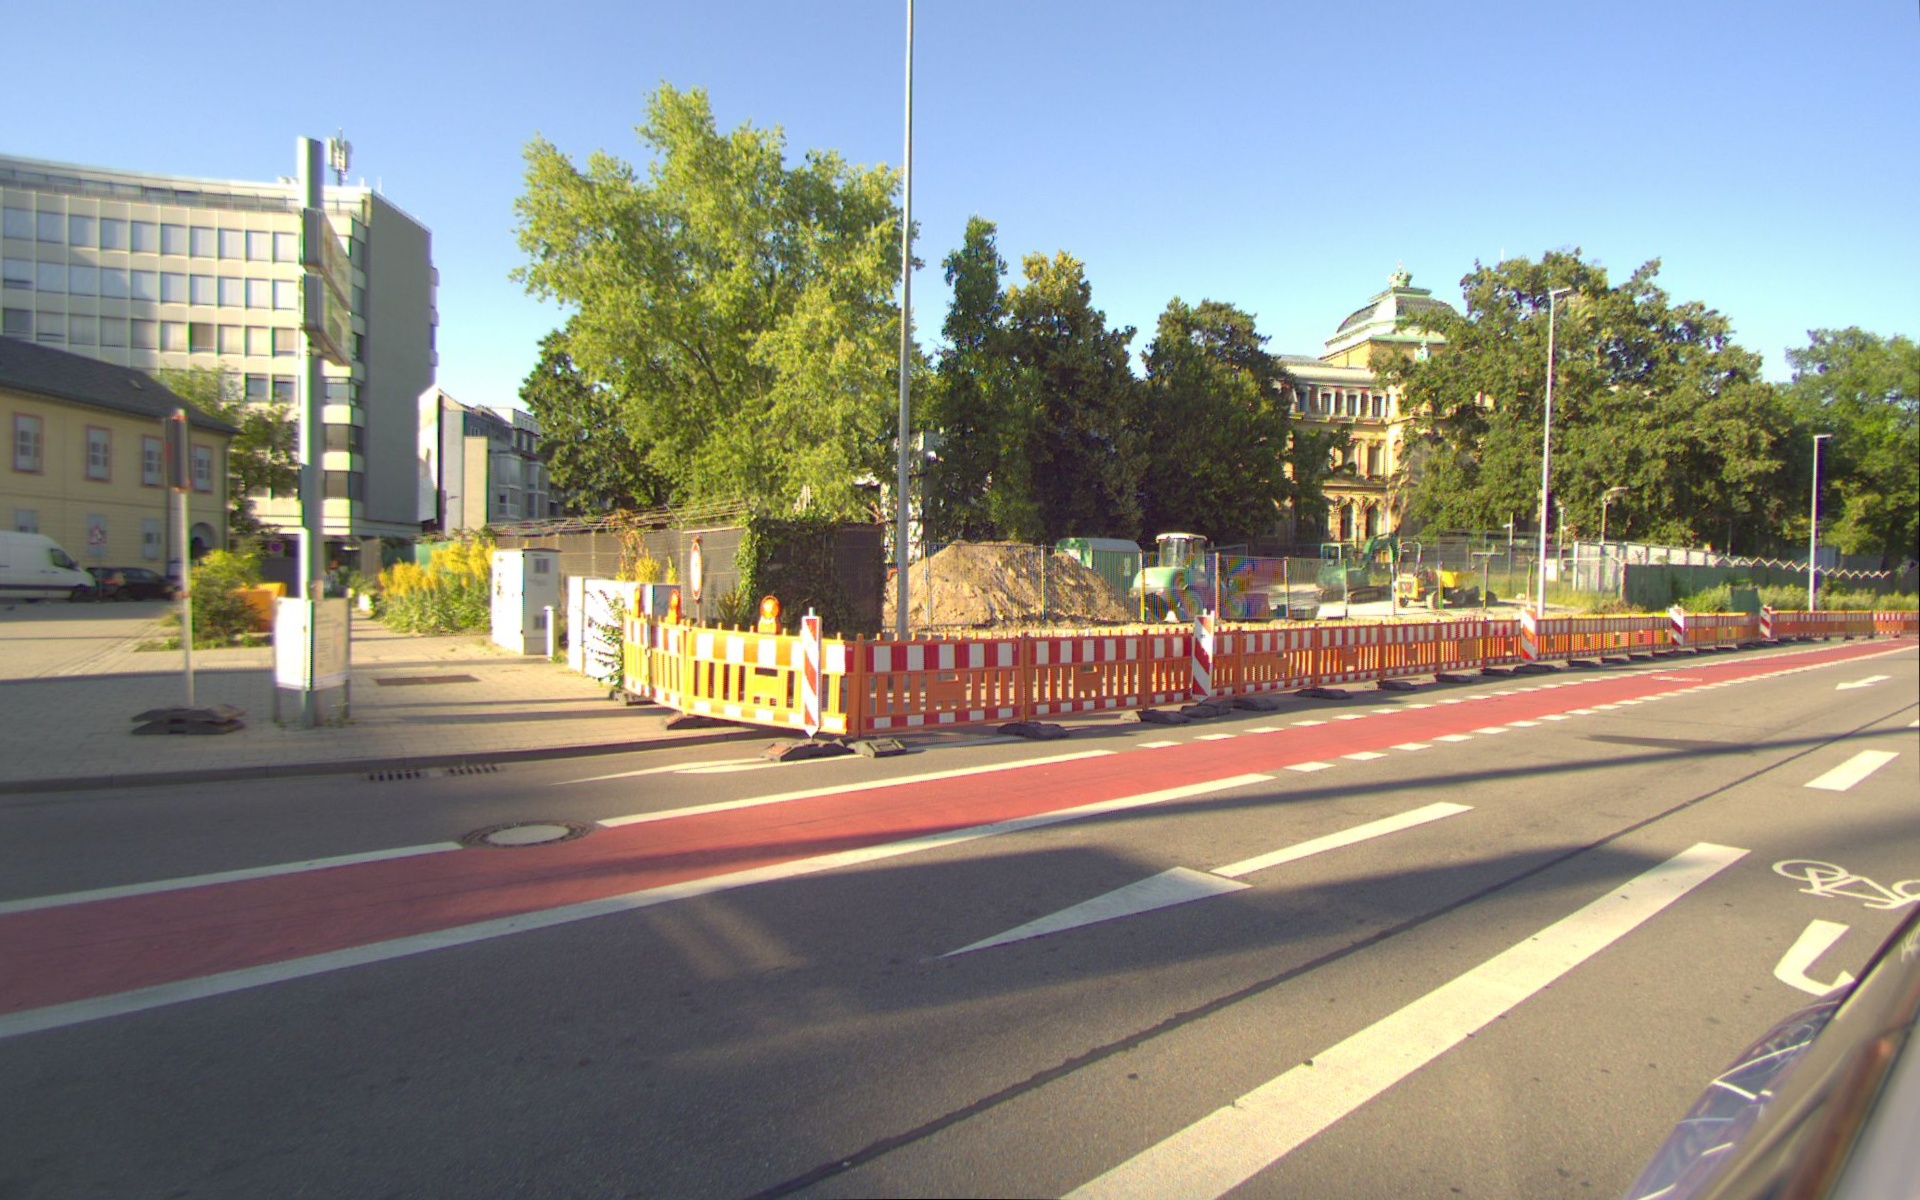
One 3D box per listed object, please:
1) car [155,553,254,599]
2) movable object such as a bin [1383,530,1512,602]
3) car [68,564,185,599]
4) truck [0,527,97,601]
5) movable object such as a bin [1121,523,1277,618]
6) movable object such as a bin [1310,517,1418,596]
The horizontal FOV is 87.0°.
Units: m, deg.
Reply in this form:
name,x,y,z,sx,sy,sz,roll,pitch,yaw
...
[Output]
name,x,y,z,sx,sy,sz,roll,pitch,yaw
car,-34.398,-1.086,46.174,1.682,2.005,3.761,0,0,1
movable object such as a bin,20.424,-1.367,42.359,5.750,2.852,2.002,-1,0,-30
car,-34.343,-0.733,41.820,1.682,1.382,3.761,0,0,1
truck,-34.317,-1.255,36.060,2.258,2.581,5.638,0,0,1
movable object such as a bin,7.436,-0.875,31.298,4.920,2.717,1.999,-1,0,-36
movable object such as a bin,18.156,-1.872,45.379,5.274,3.371,1.999,-1,0,-36
